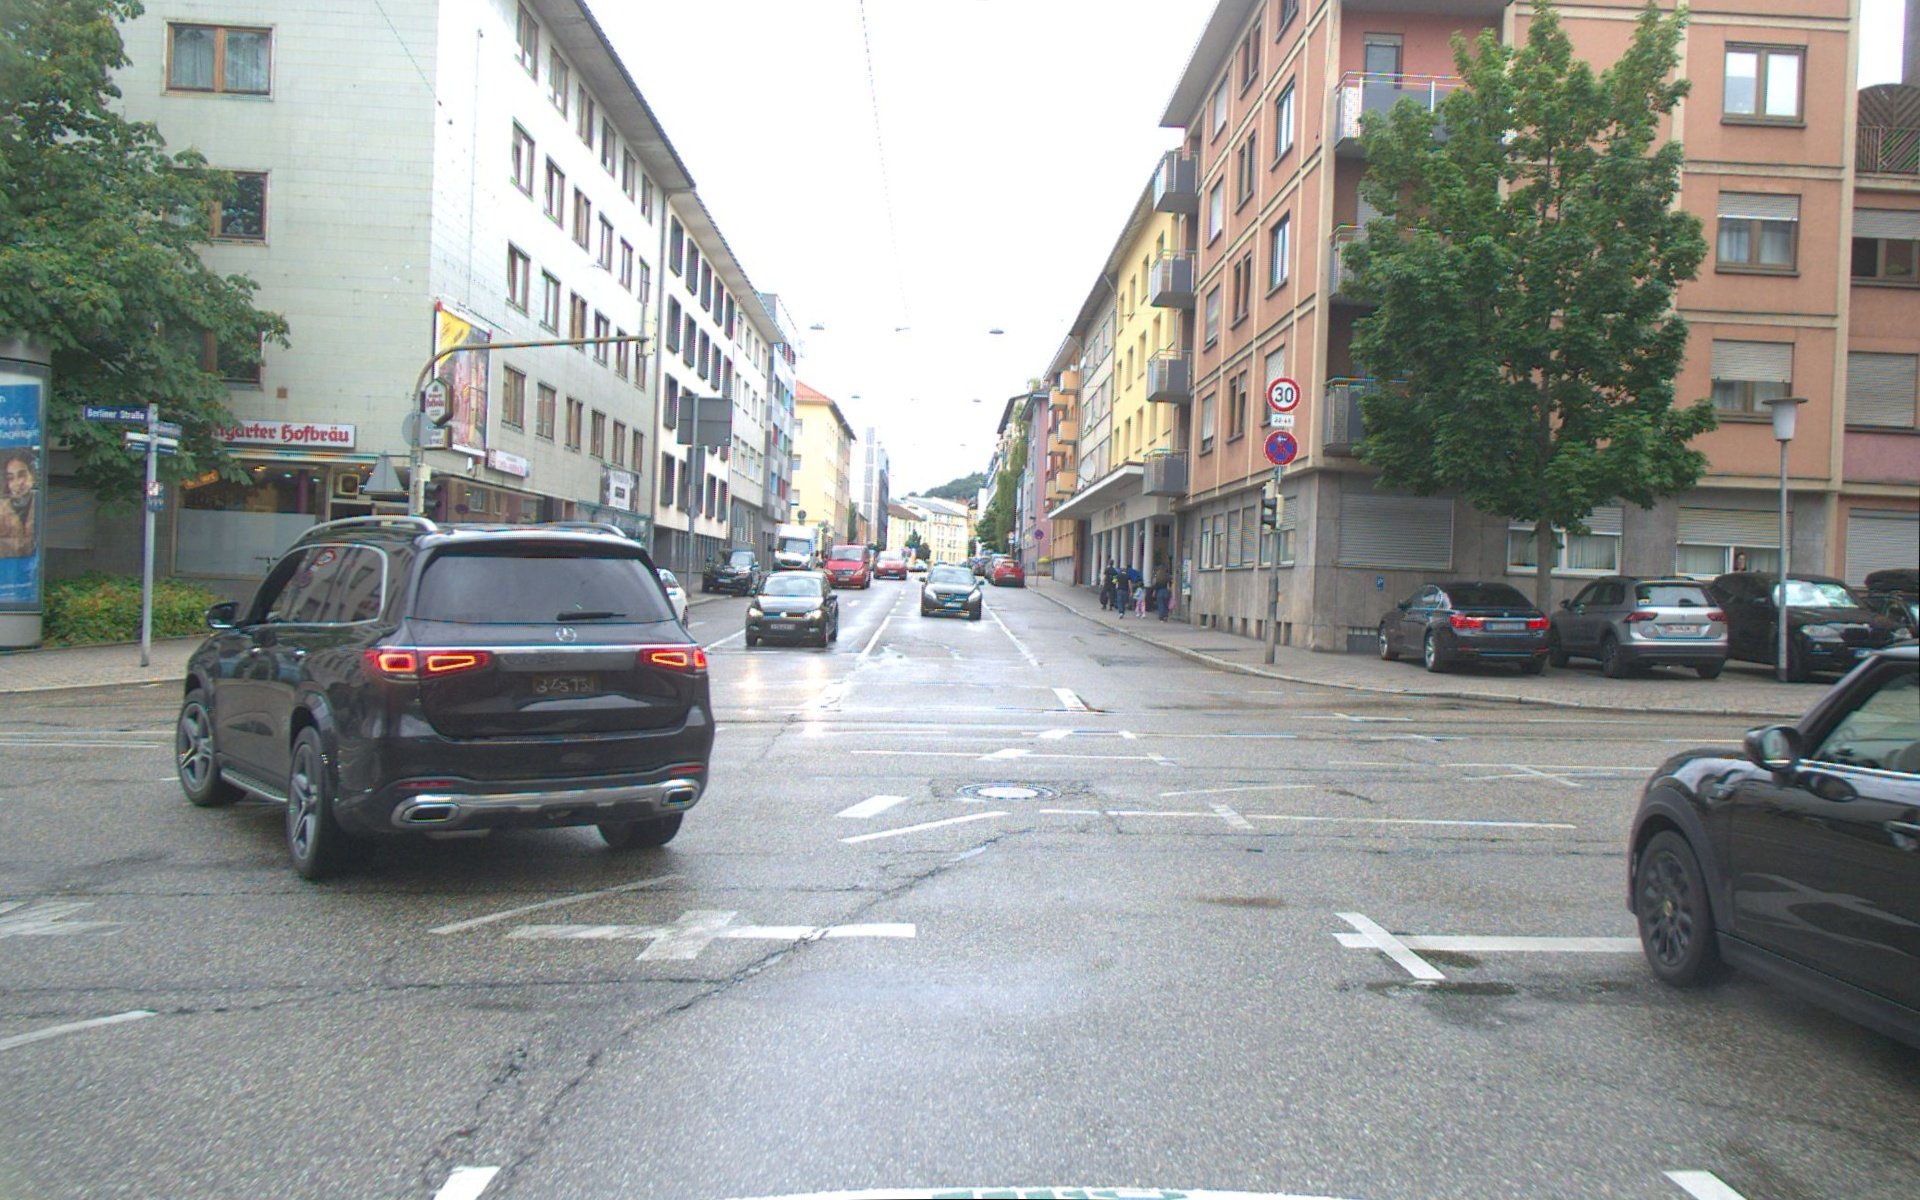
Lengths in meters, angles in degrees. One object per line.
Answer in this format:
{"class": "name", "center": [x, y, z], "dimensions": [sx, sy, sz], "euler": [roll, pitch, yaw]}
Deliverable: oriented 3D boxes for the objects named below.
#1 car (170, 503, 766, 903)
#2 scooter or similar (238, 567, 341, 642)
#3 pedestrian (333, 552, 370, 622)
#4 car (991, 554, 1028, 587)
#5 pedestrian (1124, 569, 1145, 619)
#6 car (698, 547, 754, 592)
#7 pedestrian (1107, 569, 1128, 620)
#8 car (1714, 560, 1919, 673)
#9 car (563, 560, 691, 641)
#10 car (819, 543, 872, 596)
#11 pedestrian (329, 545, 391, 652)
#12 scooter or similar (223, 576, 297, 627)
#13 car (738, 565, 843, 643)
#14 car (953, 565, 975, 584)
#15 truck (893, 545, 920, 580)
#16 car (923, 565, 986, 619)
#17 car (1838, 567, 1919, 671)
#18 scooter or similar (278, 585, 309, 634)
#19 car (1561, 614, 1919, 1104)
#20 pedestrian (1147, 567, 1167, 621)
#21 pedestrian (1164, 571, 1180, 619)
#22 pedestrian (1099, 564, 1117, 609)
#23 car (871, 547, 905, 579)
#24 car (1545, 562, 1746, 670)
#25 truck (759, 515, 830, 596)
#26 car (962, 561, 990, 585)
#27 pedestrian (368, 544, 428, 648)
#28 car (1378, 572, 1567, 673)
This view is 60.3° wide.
{"class": "car", "center": [-3.167, 0.458, 9.850], "dimensions": [2.004, 1.770, 4.688], "euler": [2, -1, -35]}
{"class": "scooter or similar", "center": [-11.507, 0.082, 28.393], "dimensions": [1.540, 1.211, 0.496], "euler": [4, -1, -31]}
{"class": "pedestrian", "center": [-12.696, -0.264, 34.527], "dimensions": [0.508, 1.424, 0.578], "euler": [3, -1, -5]}
{"class": "car", "center": [2.800, -1.634, 93.813], "dimensions": [1.974, 1.590, 5.155], "euler": [3, -1, 1]}
{"class": "pedestrian", "center": [5.601, -0.187, 53.089], "dimensions": [0.509, 1.545, 0.569], "euler": [3, 3, -1]}
{"class": "car", "center": [-9.058, -1.164, 64.344], "dimensions": [1.689, 1.631, 3.999], "euler": [1, 0, -2]}
{"class": "pedestrian", "center": [5.045, -0.180, 52.999], "dimensions": [0.509, 1.565, 0.569], "euler": [3, 3, -1]}
{"class": "car", "center": [14.311, 0.254, 27.879], "dimensions": [1.944, 1.749, 4.003], "euler": [0, 0, 10]}
{"class": "car", "center": [-6.653, -0.011, 33.460], "dimensions": [1.806, 1.539, 4.000], "euler": [0, 0, -1]}
{"class": "car", "center": [-5.096, -1.331, 74.449], "dimensions": [2.022, 2.280, 4.620], "euler": [1, 0, 0]}
{"class": "pedestrian", "center": [-9.805, -0.032, 27.013], "dimensions": [0.702, 1.675, 0.749], "euler": [2, 3, -37]}
{"class": "scooter or similar", "center": [-12.740, 0.026, 30.097], "dimensions": [1.436, 0.857, 0.548], "euler": [2, -1, 36]}
{"class": "car", "center": [-3.438, 0.055, 34.168], "dimensions": [1.806, 1.515, 4.000], "euler": [0, 0, -1]}
{"class": "car", "center": [0.423, -2.461, 159.911], "dimensions": [1.974, 1.590, 4.000], "euler": [3, -1, 1]}
{"class": "truck", "center": [-6.546, -4.564, 203.122], "dimensions": [2.750, 3.899, 8.144], "euler": [3, -1, 1]}
{"class": "car", "center": [-0.178, -0.237, 49.594], "dimensions": [1.806, 1.515, 3.999], "euler": [1, 0, -1]}
{"class": "car", "center": [16.828, 0.349, 28.129], "dimensions": [1.757, 1.727, 4.002], "euler": [3, 1, 3]}
{"class": "scooter or similar", "center": [-12.188, 0.163, 30.227], "dimensions": [0.452, 0.857, 1.312], "euler": [3, -1, -24]}
{"class": "car", "center": [3.632, 0.779, 5.556], "dimensions": [1.627, 1.445, 4.070], "euler": [1, -1, -2]}
{"class": "pedestrian", "center": [5.984, -0.192, 50.253], "dimensions": [0.469, 1.593, 0.558], "euler": [3, 3, -1]}
{"class": "pedestrian", "center": [6.458, -0.155, 50.327], "dimensions": [0.356, 1.423, 0.370], "euler": [3, 3, -1]}
{"class": "pedestrian", "center": [5.397, -0.485, 60.241], "dimensions": [0.509, 1.582, 0.569], "euler": [3, 3, -1]}
{"class": "car", "center": [-4.104, -2.118, 94.766], "dimensions": [1.806, 1.703, 4.000], "euler": [1, 0, 0]}
{"class": "car", "center": [11.619, 0.241, 28.332], "dimensions": [1.945, 1.689, 4.002], "euler": [1, 0, 3]}
{"class": "truck", "center": [-8.808, -2.278, 88.933], "dimensions": [2.750, 3.899, 8.144], "euler": [3, -1, 1]}
{"class": "car", "center": [1.228, -2.008, 125.369], "dimensions": [1.974, 1.590, 4.000], "euler": [3, -1, 1]}
{"class": "pedestrian", "center": [-9.474, -0.070, 27.870], "dimensions": [0.702, 1.675, 0.749], "euler": [2, 3, -37]}
{"class": "car", "center": [8.721, 0.341, 28.603], "dimensions": [1.806, 1.581, 4.796], "euler": [1, 0, 0]}
